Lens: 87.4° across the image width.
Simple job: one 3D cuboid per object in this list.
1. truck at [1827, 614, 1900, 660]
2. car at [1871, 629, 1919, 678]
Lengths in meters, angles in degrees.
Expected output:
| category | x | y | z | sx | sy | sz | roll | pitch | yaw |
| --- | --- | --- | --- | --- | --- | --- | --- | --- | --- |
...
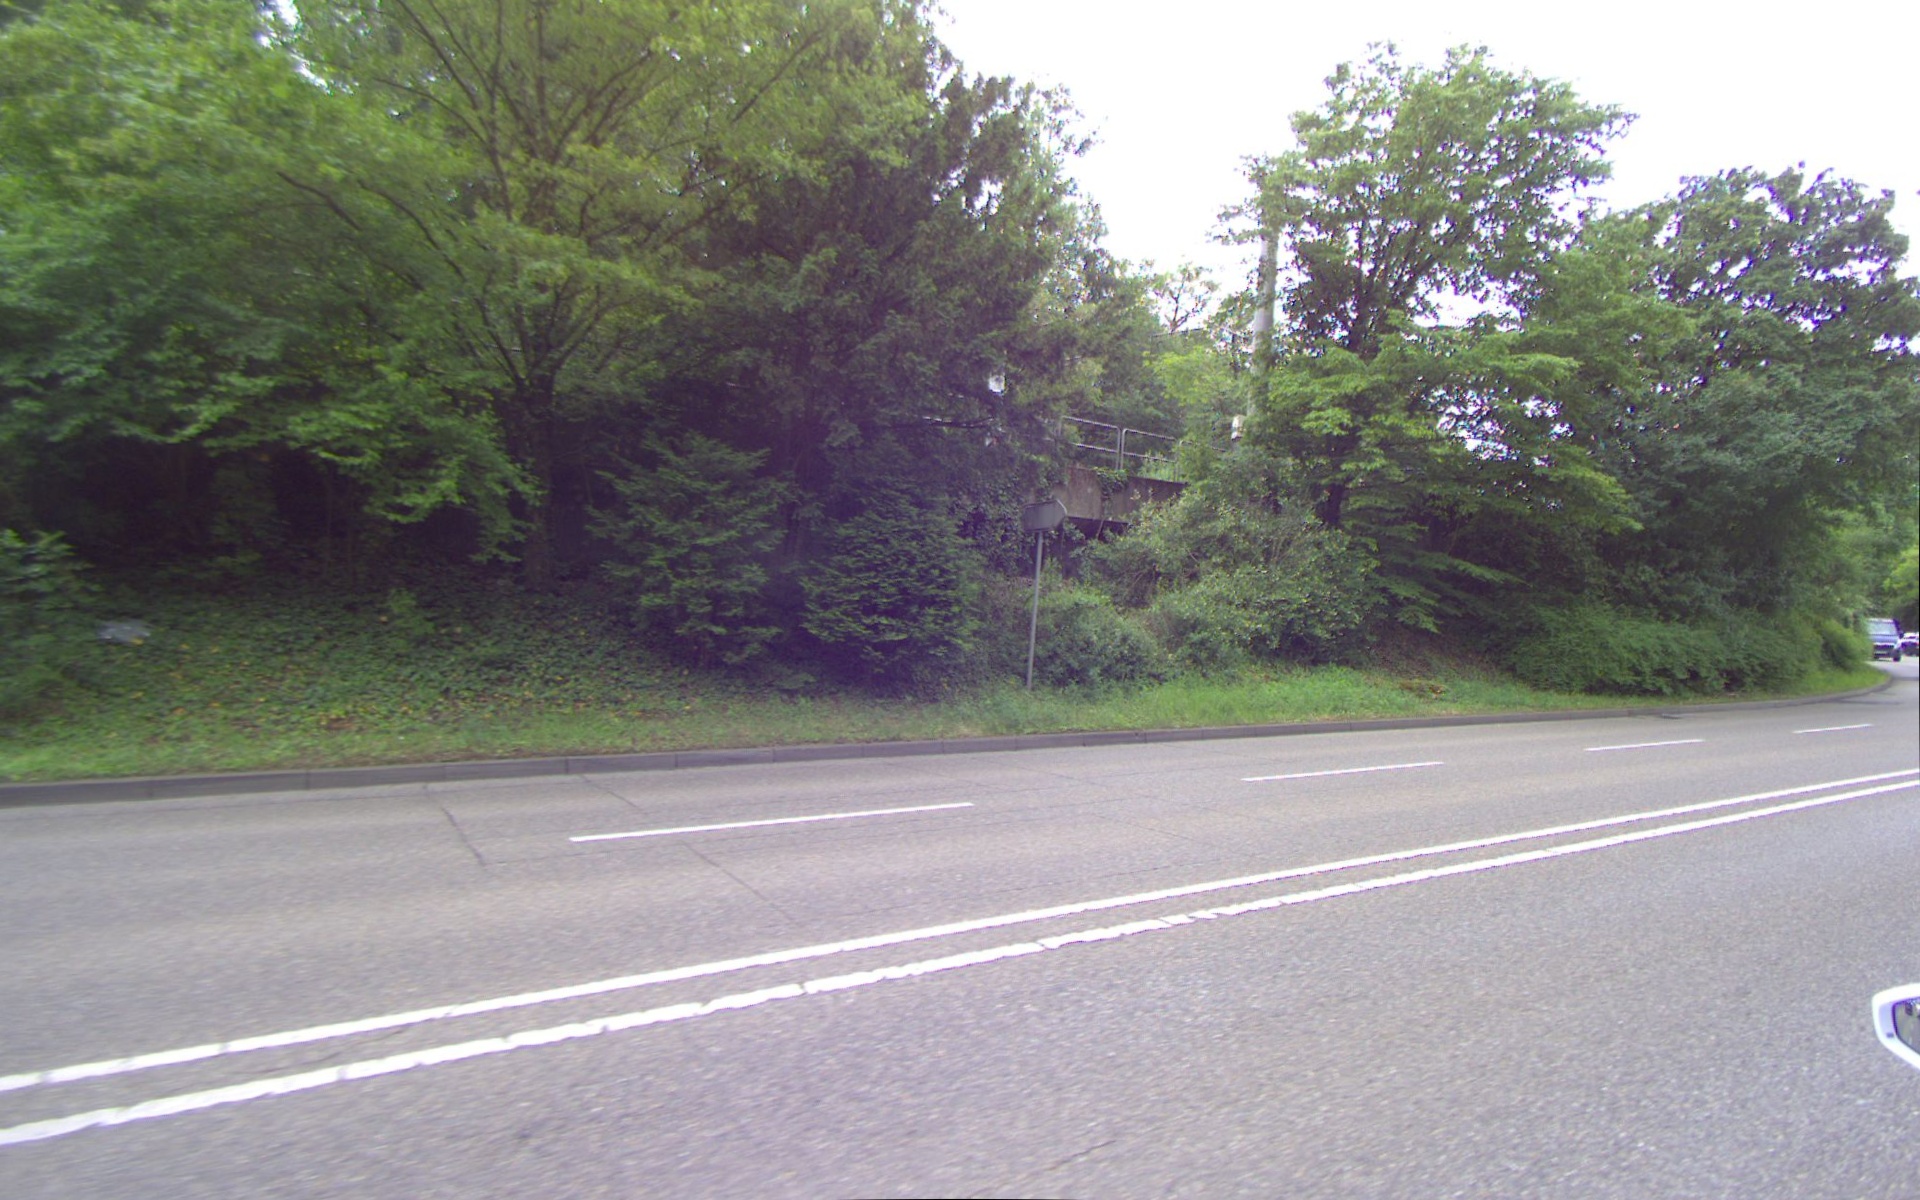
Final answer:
| category | x | y | z | sx | sy | sz | roll | pitch | yaw |
| --- | --- | --- | --- | --- | --- | --- | --- | --- | --- |
| truck | 51.060 | 2.070 | 56.888 | 2.131 | 2.402 | 6.659 | 0 | -1 | 34 |
| car | 35.927 | 1.954 | 36.904 | 1.825 | 1.717 | 4.438 | -2 | -2 | 17 |
